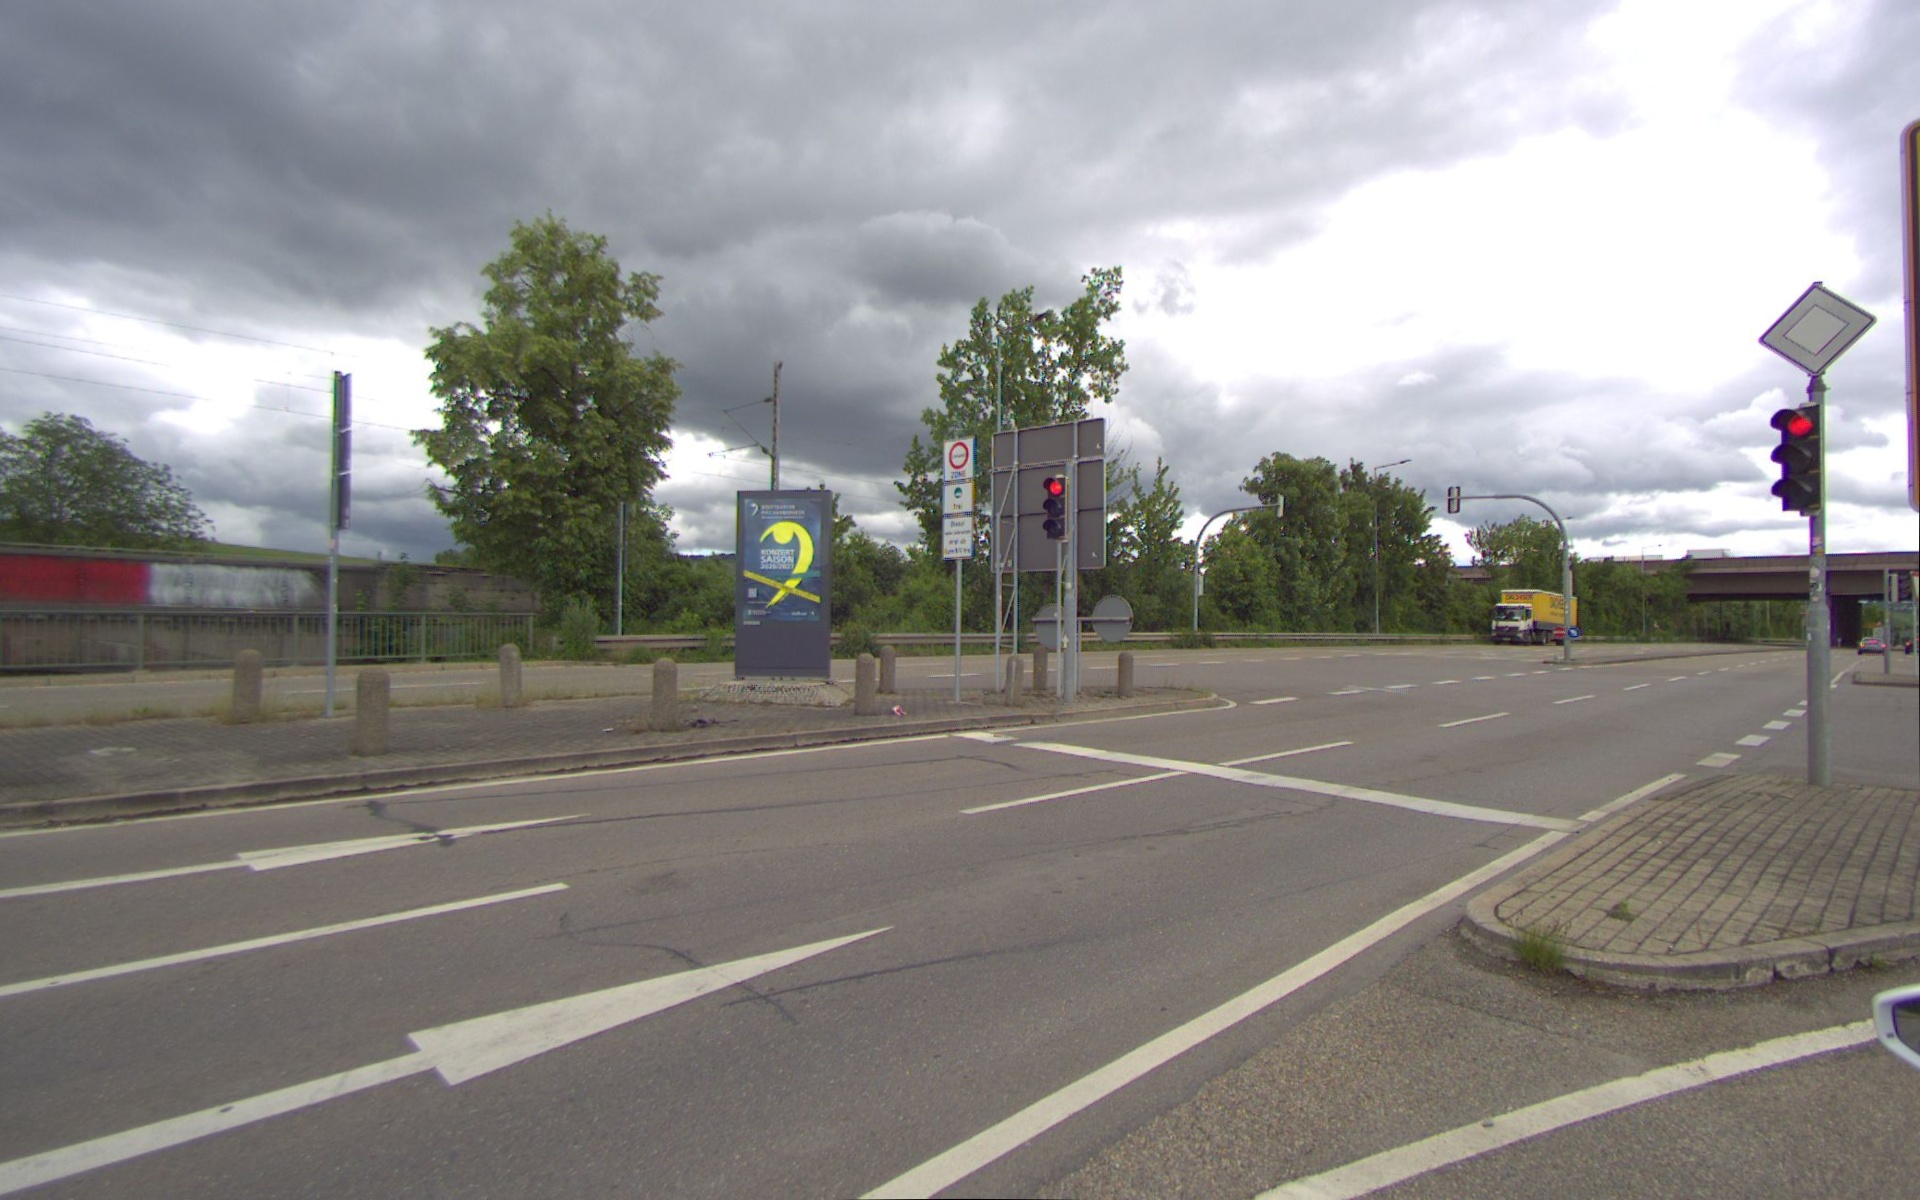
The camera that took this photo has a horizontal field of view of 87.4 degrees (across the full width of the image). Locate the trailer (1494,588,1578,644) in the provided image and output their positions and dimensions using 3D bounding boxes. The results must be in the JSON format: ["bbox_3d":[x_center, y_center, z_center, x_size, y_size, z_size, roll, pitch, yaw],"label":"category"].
[{"bbox_3d":[46.296,1.253,80.522,11.352,4.139,2.842,1,1,-45],"label":"trailer"}]

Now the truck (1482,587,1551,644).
[{"bbox_3d":[42.441,1.162,76.552,6.445,4.139,2.843,1,1,-45],"label":"truck"}]

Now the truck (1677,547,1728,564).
[{"bbox_3d":[106.839,-6.370,144.640,1.977,2.192,5.595,1,0,-30],"label":"truck"}]

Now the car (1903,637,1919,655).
[{"bbox_3d":[87.003,4.186,91.149,4.084,1.483,1.974,4,-2,-44],"label":"car"}]

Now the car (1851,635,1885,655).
[{"bbox_3d":[74.213,3.661,82.056,1.972,1.461,4.087,1,-2,43],"label":"car"}]
